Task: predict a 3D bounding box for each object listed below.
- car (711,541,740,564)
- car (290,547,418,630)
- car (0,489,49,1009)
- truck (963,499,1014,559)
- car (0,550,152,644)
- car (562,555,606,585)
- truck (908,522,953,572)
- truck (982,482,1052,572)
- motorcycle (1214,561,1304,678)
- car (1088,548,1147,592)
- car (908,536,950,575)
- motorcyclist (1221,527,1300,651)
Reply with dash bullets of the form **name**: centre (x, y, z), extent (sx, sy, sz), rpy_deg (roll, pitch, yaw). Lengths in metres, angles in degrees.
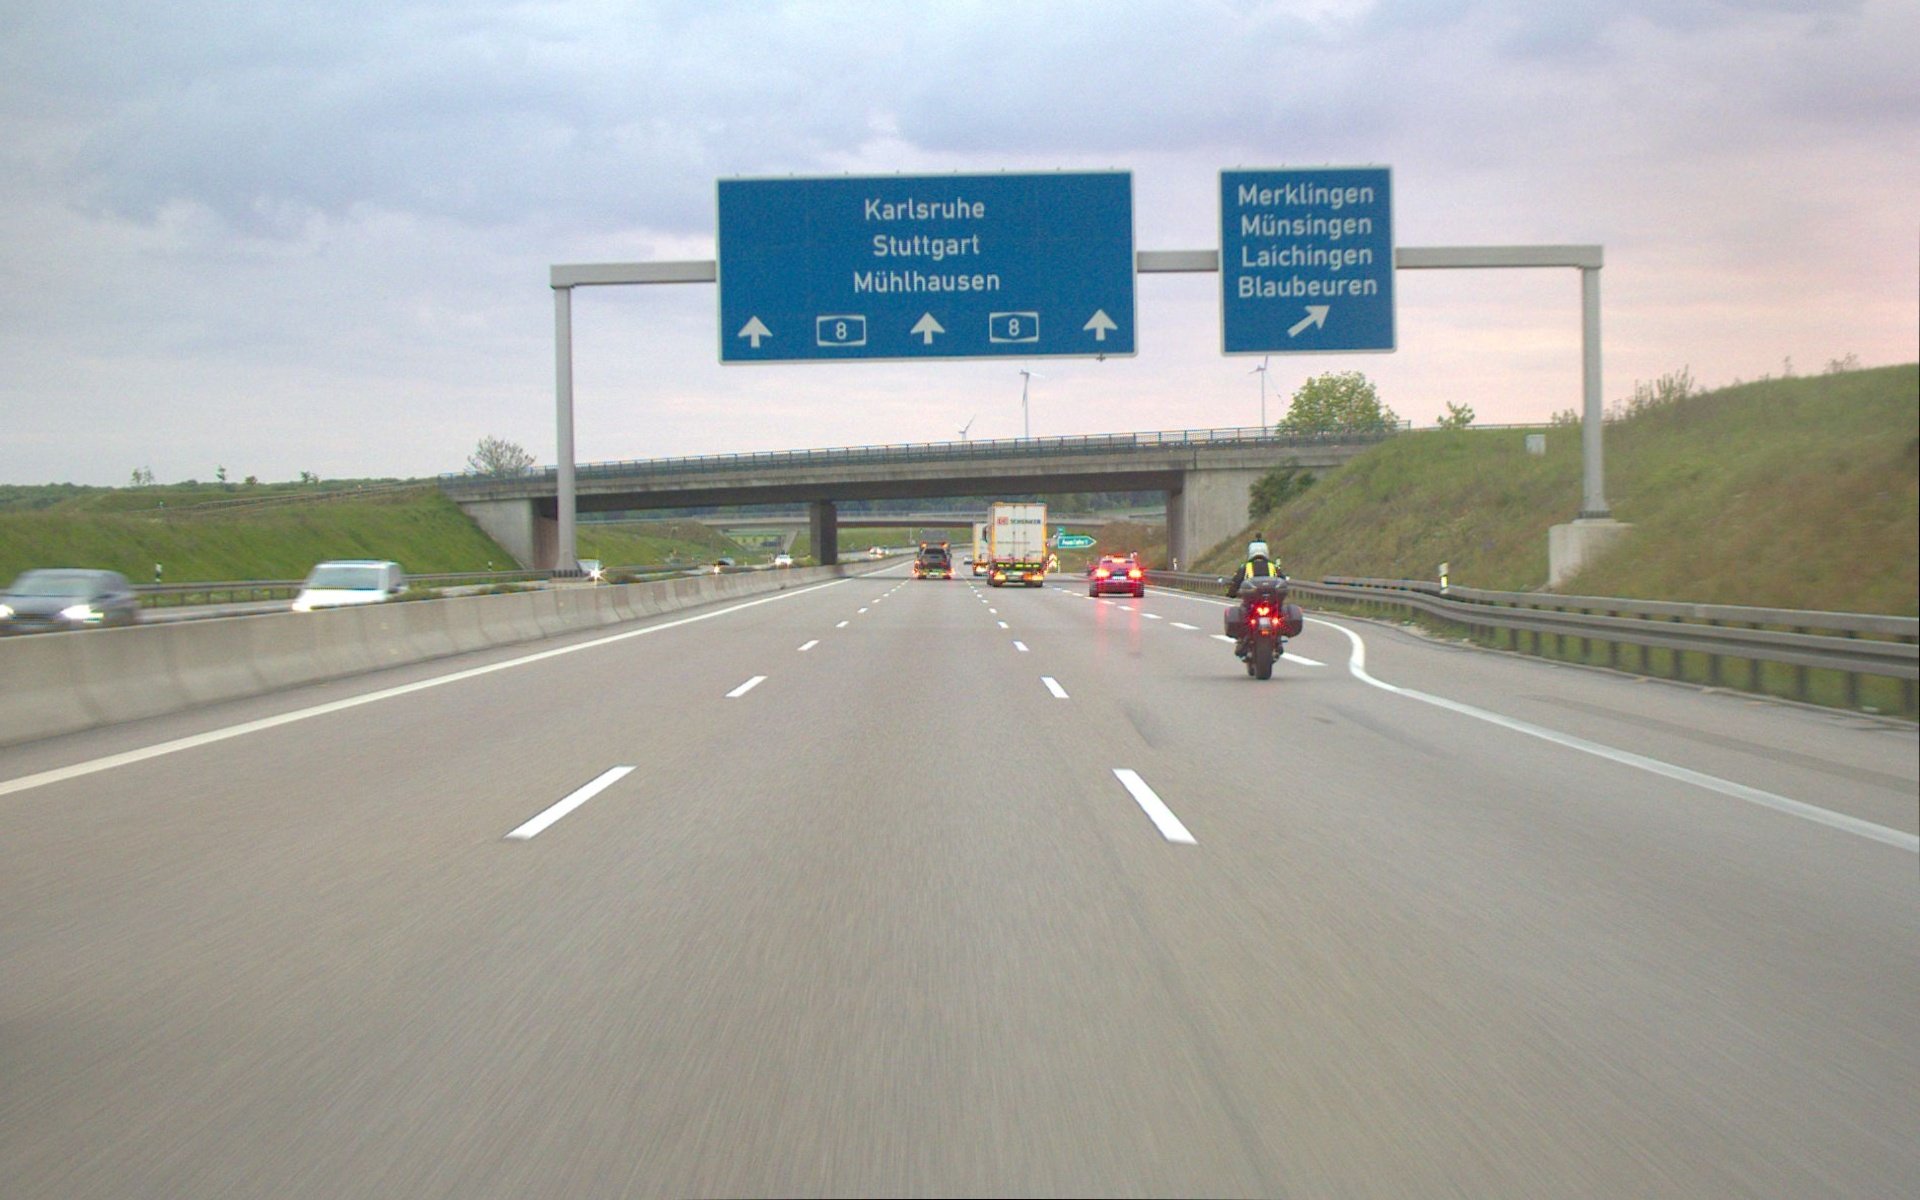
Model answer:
- **car**: centre (-17.307, -3.514, 253.356), extent (1.819, 1.623, 4.000), rpy_deg (1, 0, 0)
- **car**: centre (-12.168, -0.264, 69.308), extent (1.749, 1.592, 4.643), rpy_deg (1, 1, 0)
- **car**: centre (-4.032, 0.524, 8.984), extent (1.852, 1.687, 5.512), rpy_deg (0, 1, 0)
- **truck**: centre (2.101, -5.326, 255.928), extent (3.525, 4.330, 8.406), rpy_deg (1, 1, -1)
- **car**: centre (-15.936, -0.084, 61.530), extent (2.002, 1.582, 4.573), rpy_deg (0, 1, -2)
- **car**: centre (-20.821, -1.663, 190.603), extent (1.993, 1.597, 5.200), rpy_deg (1, 0, -1)
- **truck**: centre (-1.989, -3.610, 230.993), extent (2.951, 3.206, 8.406), rpy_deg (1, 2, -1)
- **truck**: centre (2.714, -3.566, 166.953), extent (3.234, 4.213, 9.599), rpy_deg (1, 2, 0)
- **motorcycle**: centre (3.650, 0.217, 42.140), extent (0.902, 1.342, 2.349), rpy_deg (0, 2, 0)
- **car**: centre (5.764, -1.112, 126.049), extent (1.918, 1.574, 4.000), rpy_deg (0, 1, -1)
- **car**: centre (-1.953, -2.770, 214.668), extent (2.516, 2.383, 6.497), rpy_deg (0, 1, -1)
- **motorcyclist**: centre (3.667, -0.146, 41.998), extent (0.866, 1.482, 1.168), rpy_deg (1, 1, 2)
